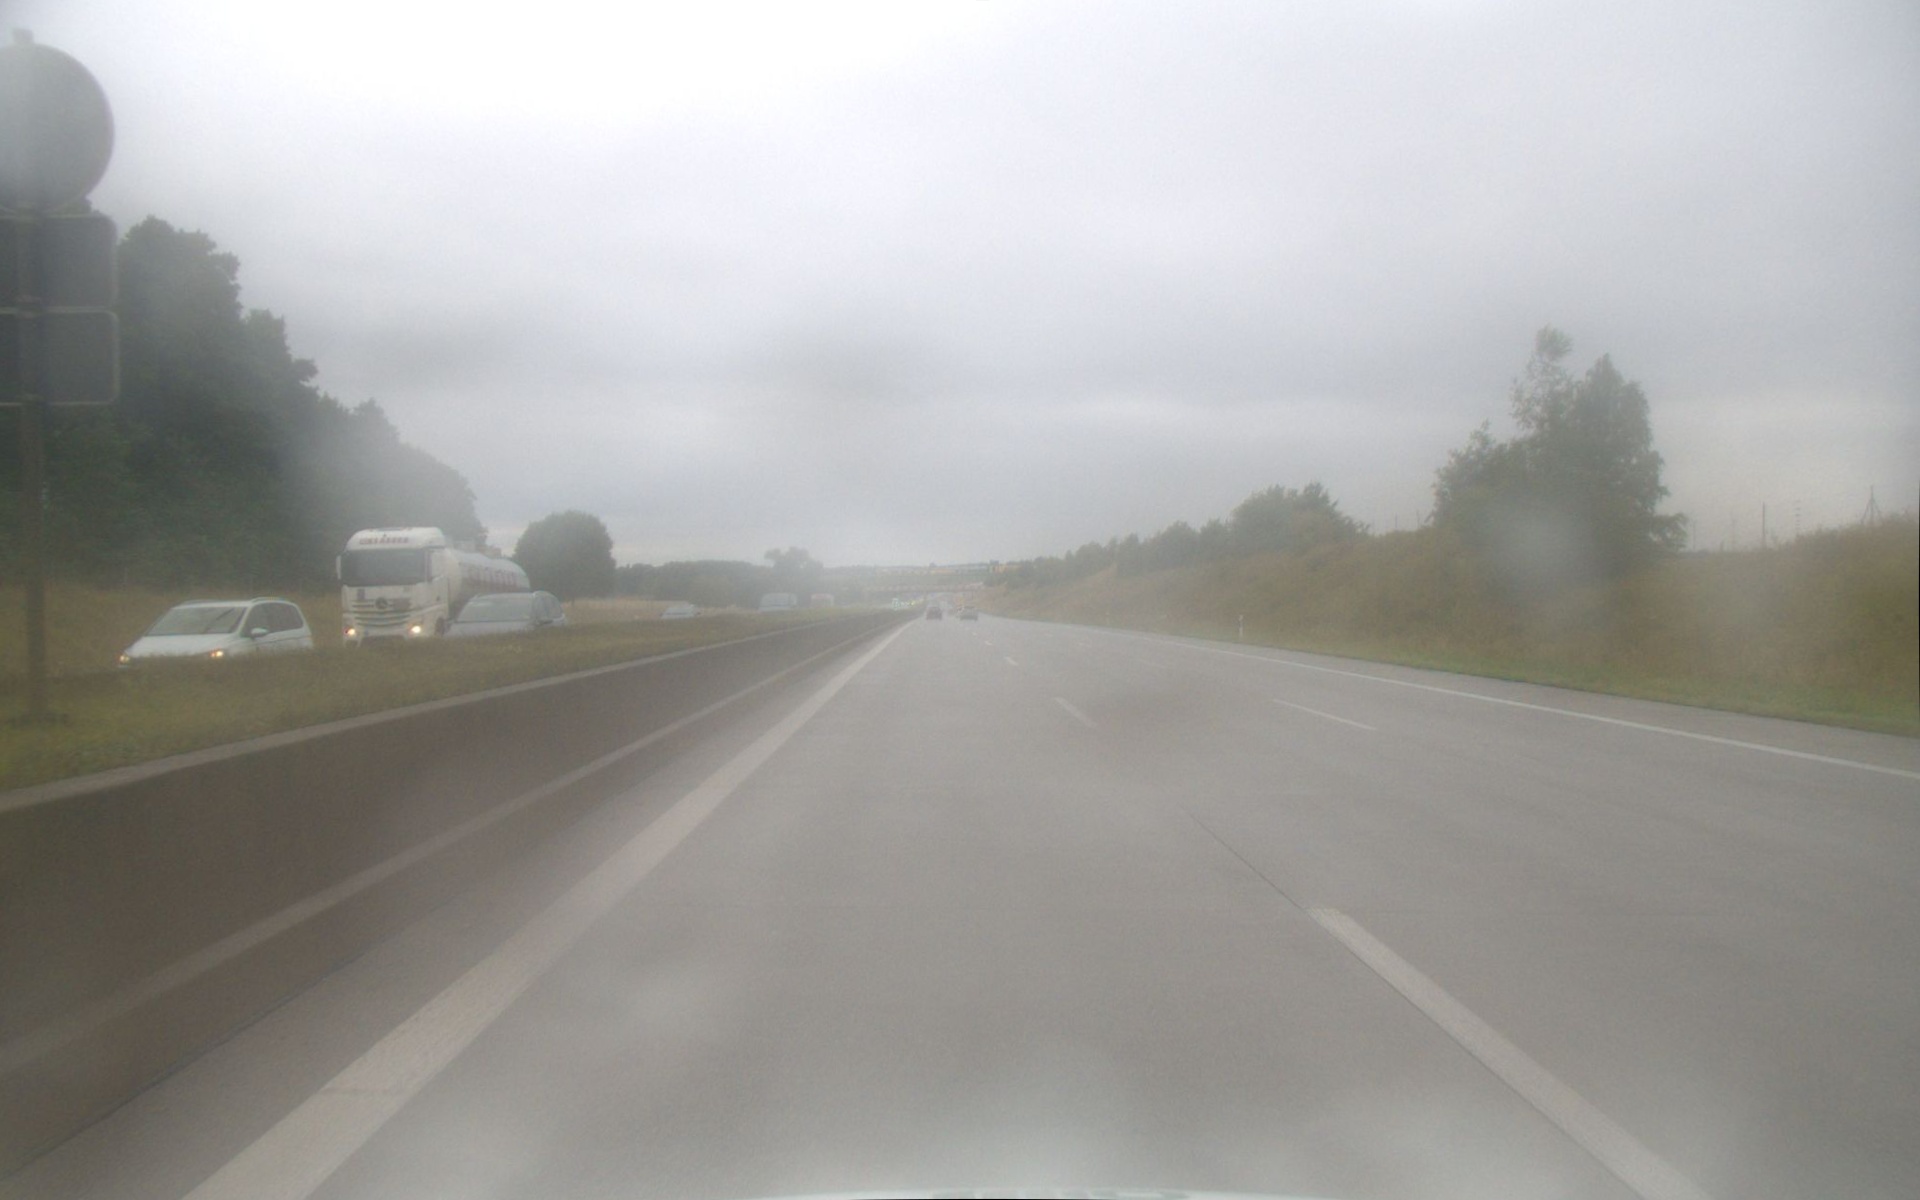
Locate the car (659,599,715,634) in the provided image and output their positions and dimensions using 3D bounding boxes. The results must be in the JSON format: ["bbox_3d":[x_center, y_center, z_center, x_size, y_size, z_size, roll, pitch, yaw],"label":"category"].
[{"bbox_3d":[-12.635,0.758,76.853,1.953,1.570,4.558,-1,0,-2],"label":"car"}]

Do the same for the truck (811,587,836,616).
[{"bbox_3d":[-19.585,0.137,238.075,2.844,3.923,12.447,-1,1,-1],"label":"truck"}]

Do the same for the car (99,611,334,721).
[{"bbox_3d":[-12.245,1.021,27.602,1.953,1.656,4.558,-1,0,-2],"label":"car"}]

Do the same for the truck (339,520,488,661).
[{"bbox_3d":[-16.151,-0.352,49.335,2.611,3.942,6.432,0,1,-3],"label":"truck"}]

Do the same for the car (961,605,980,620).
[{"bbox_3d":[1.058,1.289,171.963,1.810,1.354,4.428,0,1,-3],"label":"car"}]

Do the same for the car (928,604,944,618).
[{"bbox_3d":[-2.636,1.207,181.609,1.694,1.354,4.429,0,1,-1],"label":"car"}]

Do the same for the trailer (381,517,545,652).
[{"bbox_3d":[-16.433,-0.501,55.586,2.611,4.041,11.130,-1,0,-3],"label":"trailer"}]

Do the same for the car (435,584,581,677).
[{"bbox_3d":[-8.925,0.545,33.016,1.747,1.716,4.559,-1,0,-2],"label":"car"}]
